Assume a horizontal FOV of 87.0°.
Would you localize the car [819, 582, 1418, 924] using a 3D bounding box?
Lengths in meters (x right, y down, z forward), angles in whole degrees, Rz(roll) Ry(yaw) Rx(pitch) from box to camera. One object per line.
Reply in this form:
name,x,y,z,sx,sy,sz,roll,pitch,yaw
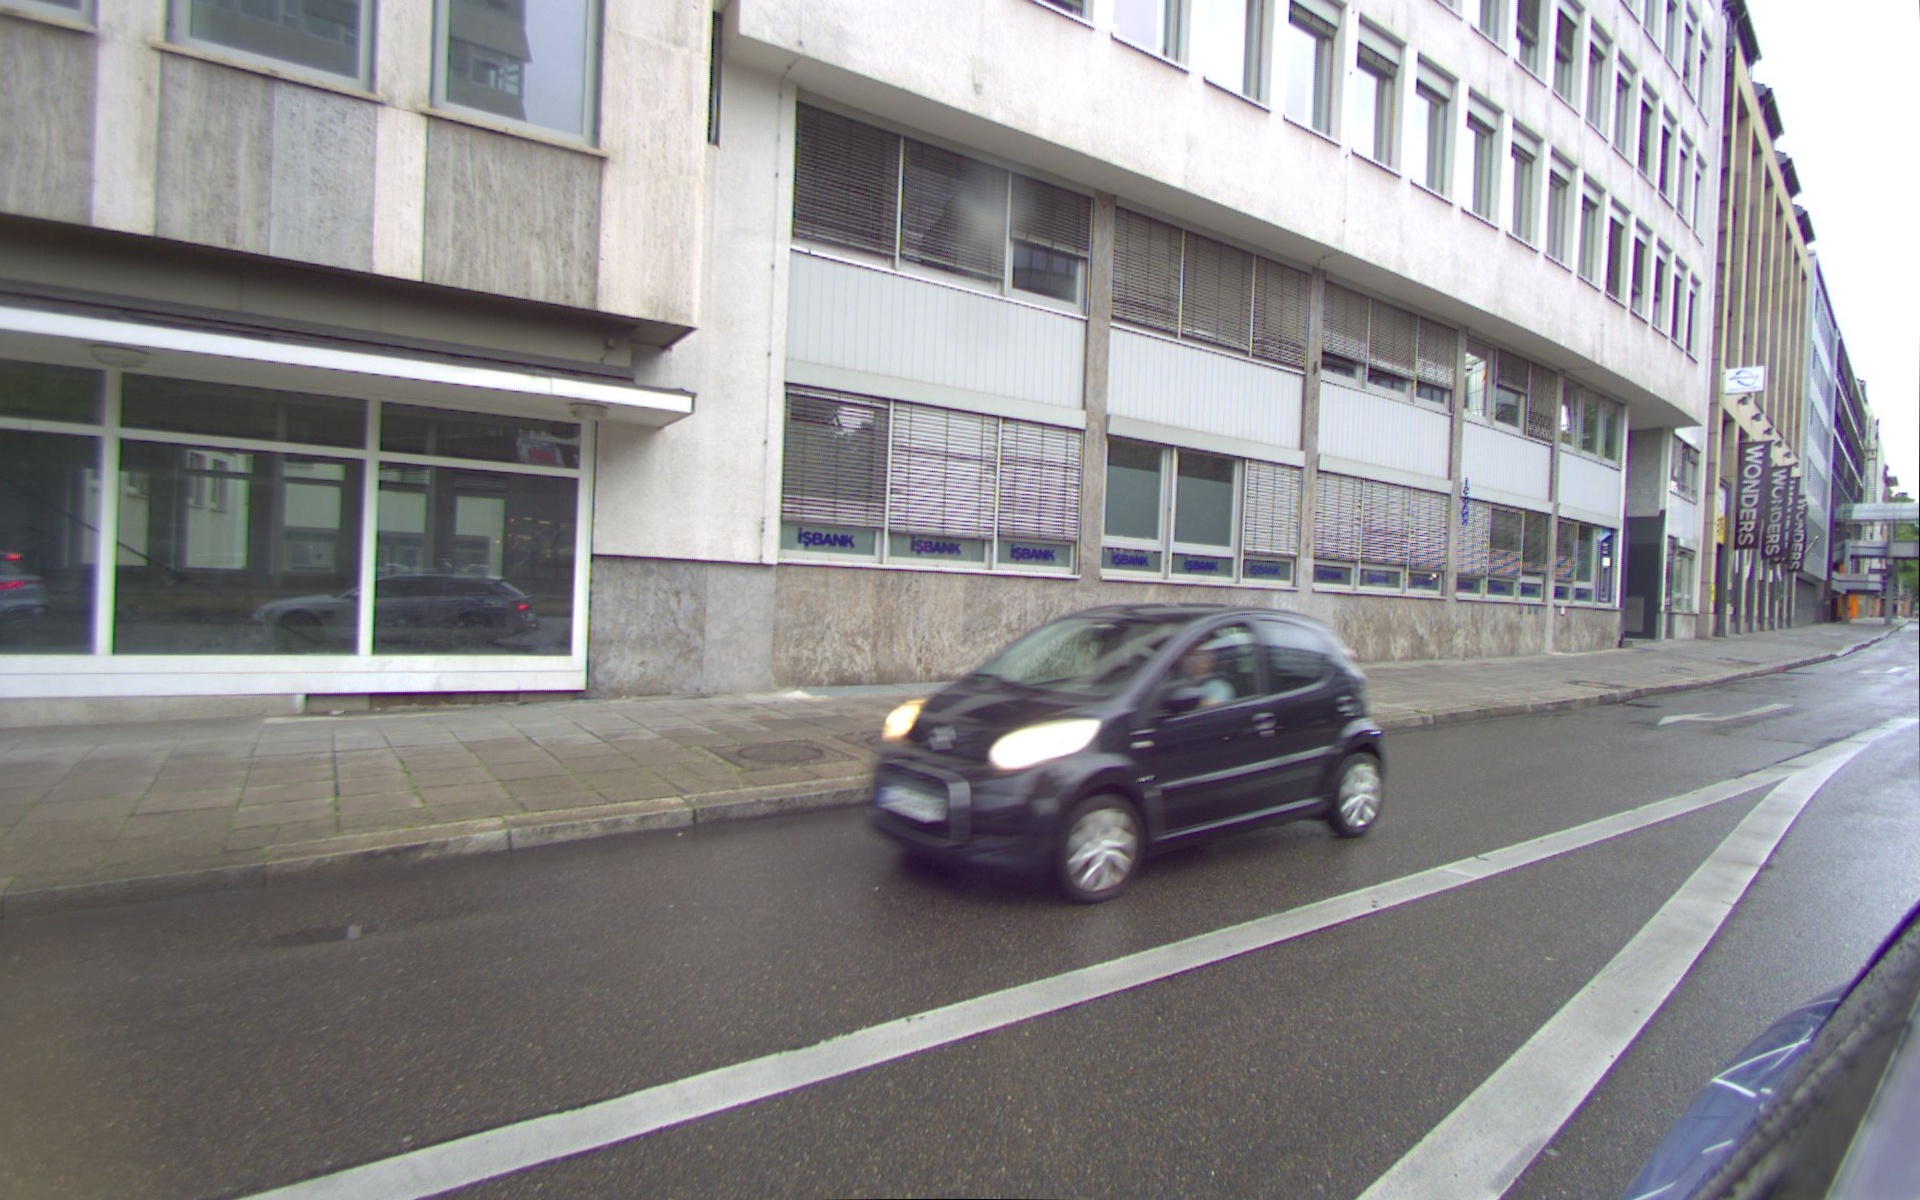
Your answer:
car,1.062,0.669,6.125,3.418,1.491,1.667,1,0,-36
